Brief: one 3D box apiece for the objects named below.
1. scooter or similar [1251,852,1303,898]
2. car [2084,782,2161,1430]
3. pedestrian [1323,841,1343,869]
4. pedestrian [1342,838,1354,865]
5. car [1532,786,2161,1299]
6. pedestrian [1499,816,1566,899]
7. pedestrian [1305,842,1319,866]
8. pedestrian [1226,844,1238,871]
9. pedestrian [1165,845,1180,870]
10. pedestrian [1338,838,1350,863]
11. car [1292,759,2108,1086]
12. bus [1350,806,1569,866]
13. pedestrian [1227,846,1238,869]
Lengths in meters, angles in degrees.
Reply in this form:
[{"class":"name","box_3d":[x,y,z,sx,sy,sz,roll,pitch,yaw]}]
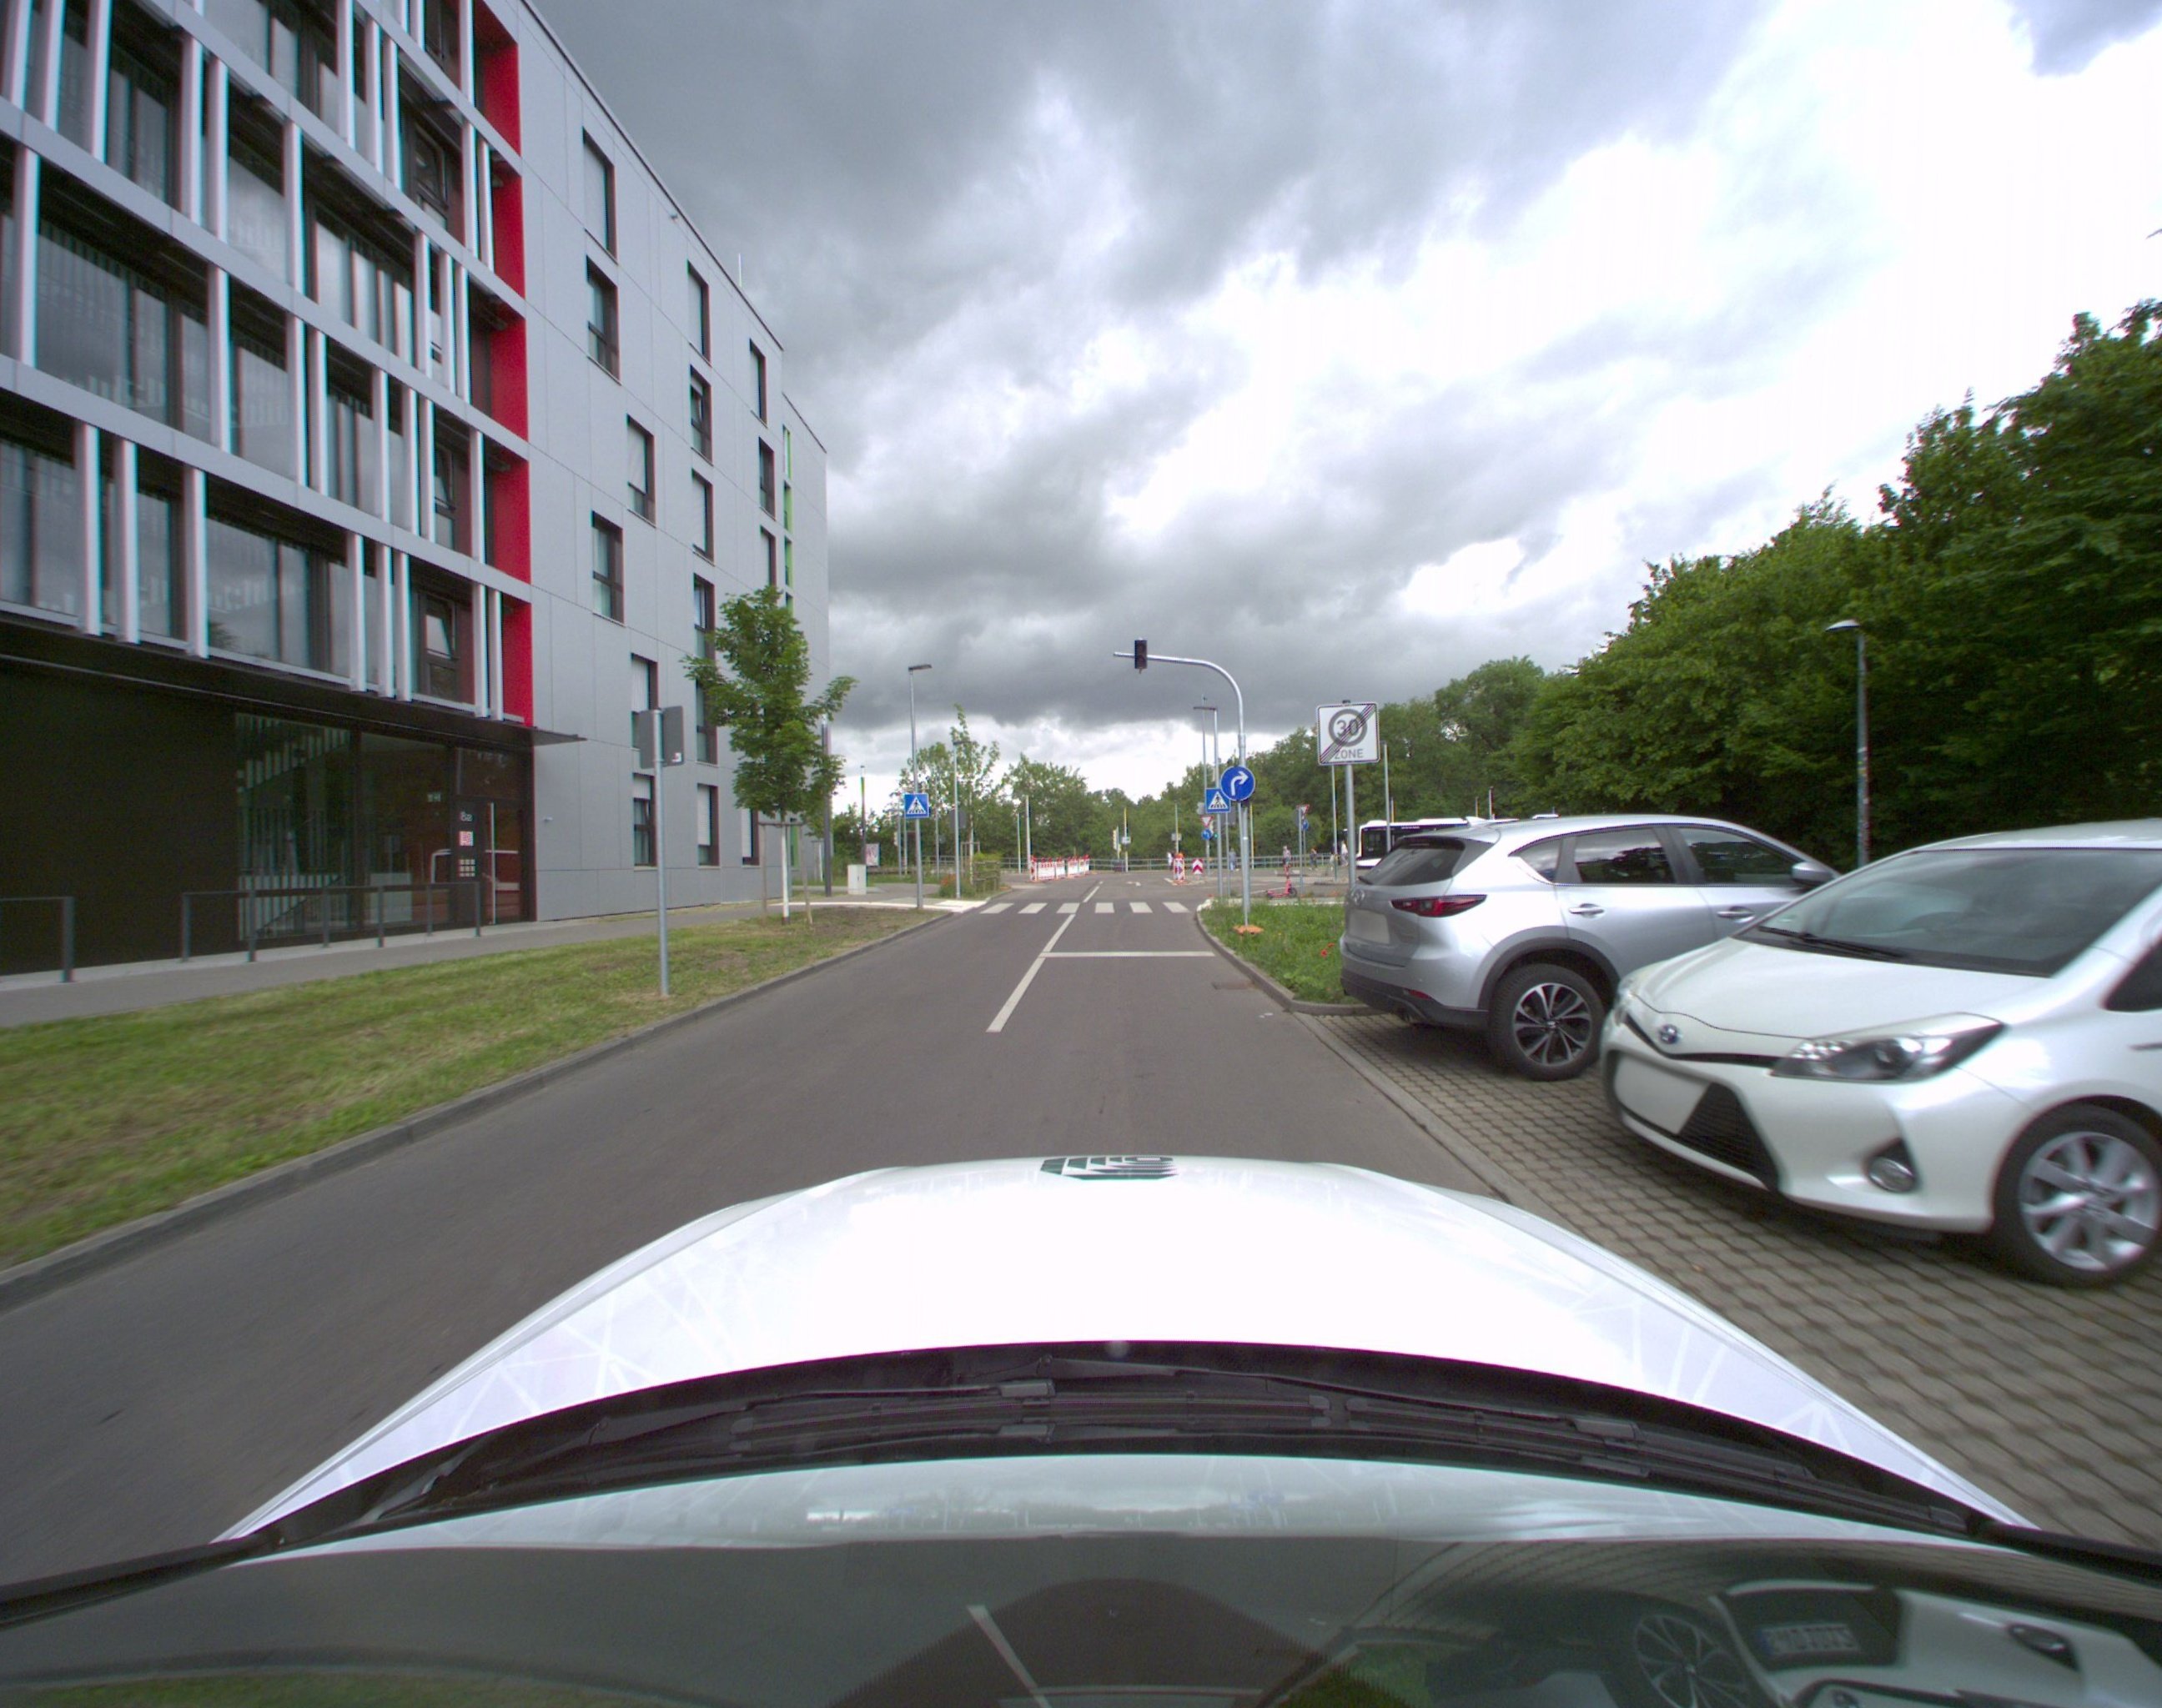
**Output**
[{"class":"scooter or similar","box_3d":[5.861,0.613,24.386,1.530,1.313,0.567,-1,0,-31]},{"class":"car","box_3d":[4.802,0.487,1.143,4.464,1.562,1.911,-3,0,-1]},{"class":"pedestrian","box_3d":[16.297,0.047,52.619,0.945,1.747,1.069,-1,0,32]},{"class":"pedestrian","box_3d":[18.066,-0.176,55.022,0.714,1.747,0.962,-1,0,19]},{"class":"car","box_3d":[4.526,0.531,3.522,4.142,1.586,1.795,-2,0,-1]},{"class":"pedestrian","box_3d":[10.205,0.073,18.423,0.986,1.822,0.850,-1,-1,-24]},{"class":"pedestrian","box_3d":[15.284,-0.017,53.780,0.683,1.567,0.737,-1,0,32]},{"class":"pedestrian","box_3d":[10.154,0.247,54.714,0.715,1.747,0.961,-1,0,14]},{"class":"pedestrian","box_3d":[6.548,0.235,58.209,0.947,1.747,0.725,-1,0,13]},{"class":"pedestrian","box_3d":[18.190,-0.238,56.293,0.714,1.747,0.962,-1,0,19]},{"class":"car","box_3d":[4.233,0.404,6.163,4.638,1.752,2.068,-4,0,-3]},{"class":"bus","box_3d":[23.258,-1.045,50.841,12.071,3.203,2.685,-2,0,14]},{"class":"pedestrian","box_3d":[10.723,0.271,57.677,0.715,1.621,0.808,-1,0,13]}]
